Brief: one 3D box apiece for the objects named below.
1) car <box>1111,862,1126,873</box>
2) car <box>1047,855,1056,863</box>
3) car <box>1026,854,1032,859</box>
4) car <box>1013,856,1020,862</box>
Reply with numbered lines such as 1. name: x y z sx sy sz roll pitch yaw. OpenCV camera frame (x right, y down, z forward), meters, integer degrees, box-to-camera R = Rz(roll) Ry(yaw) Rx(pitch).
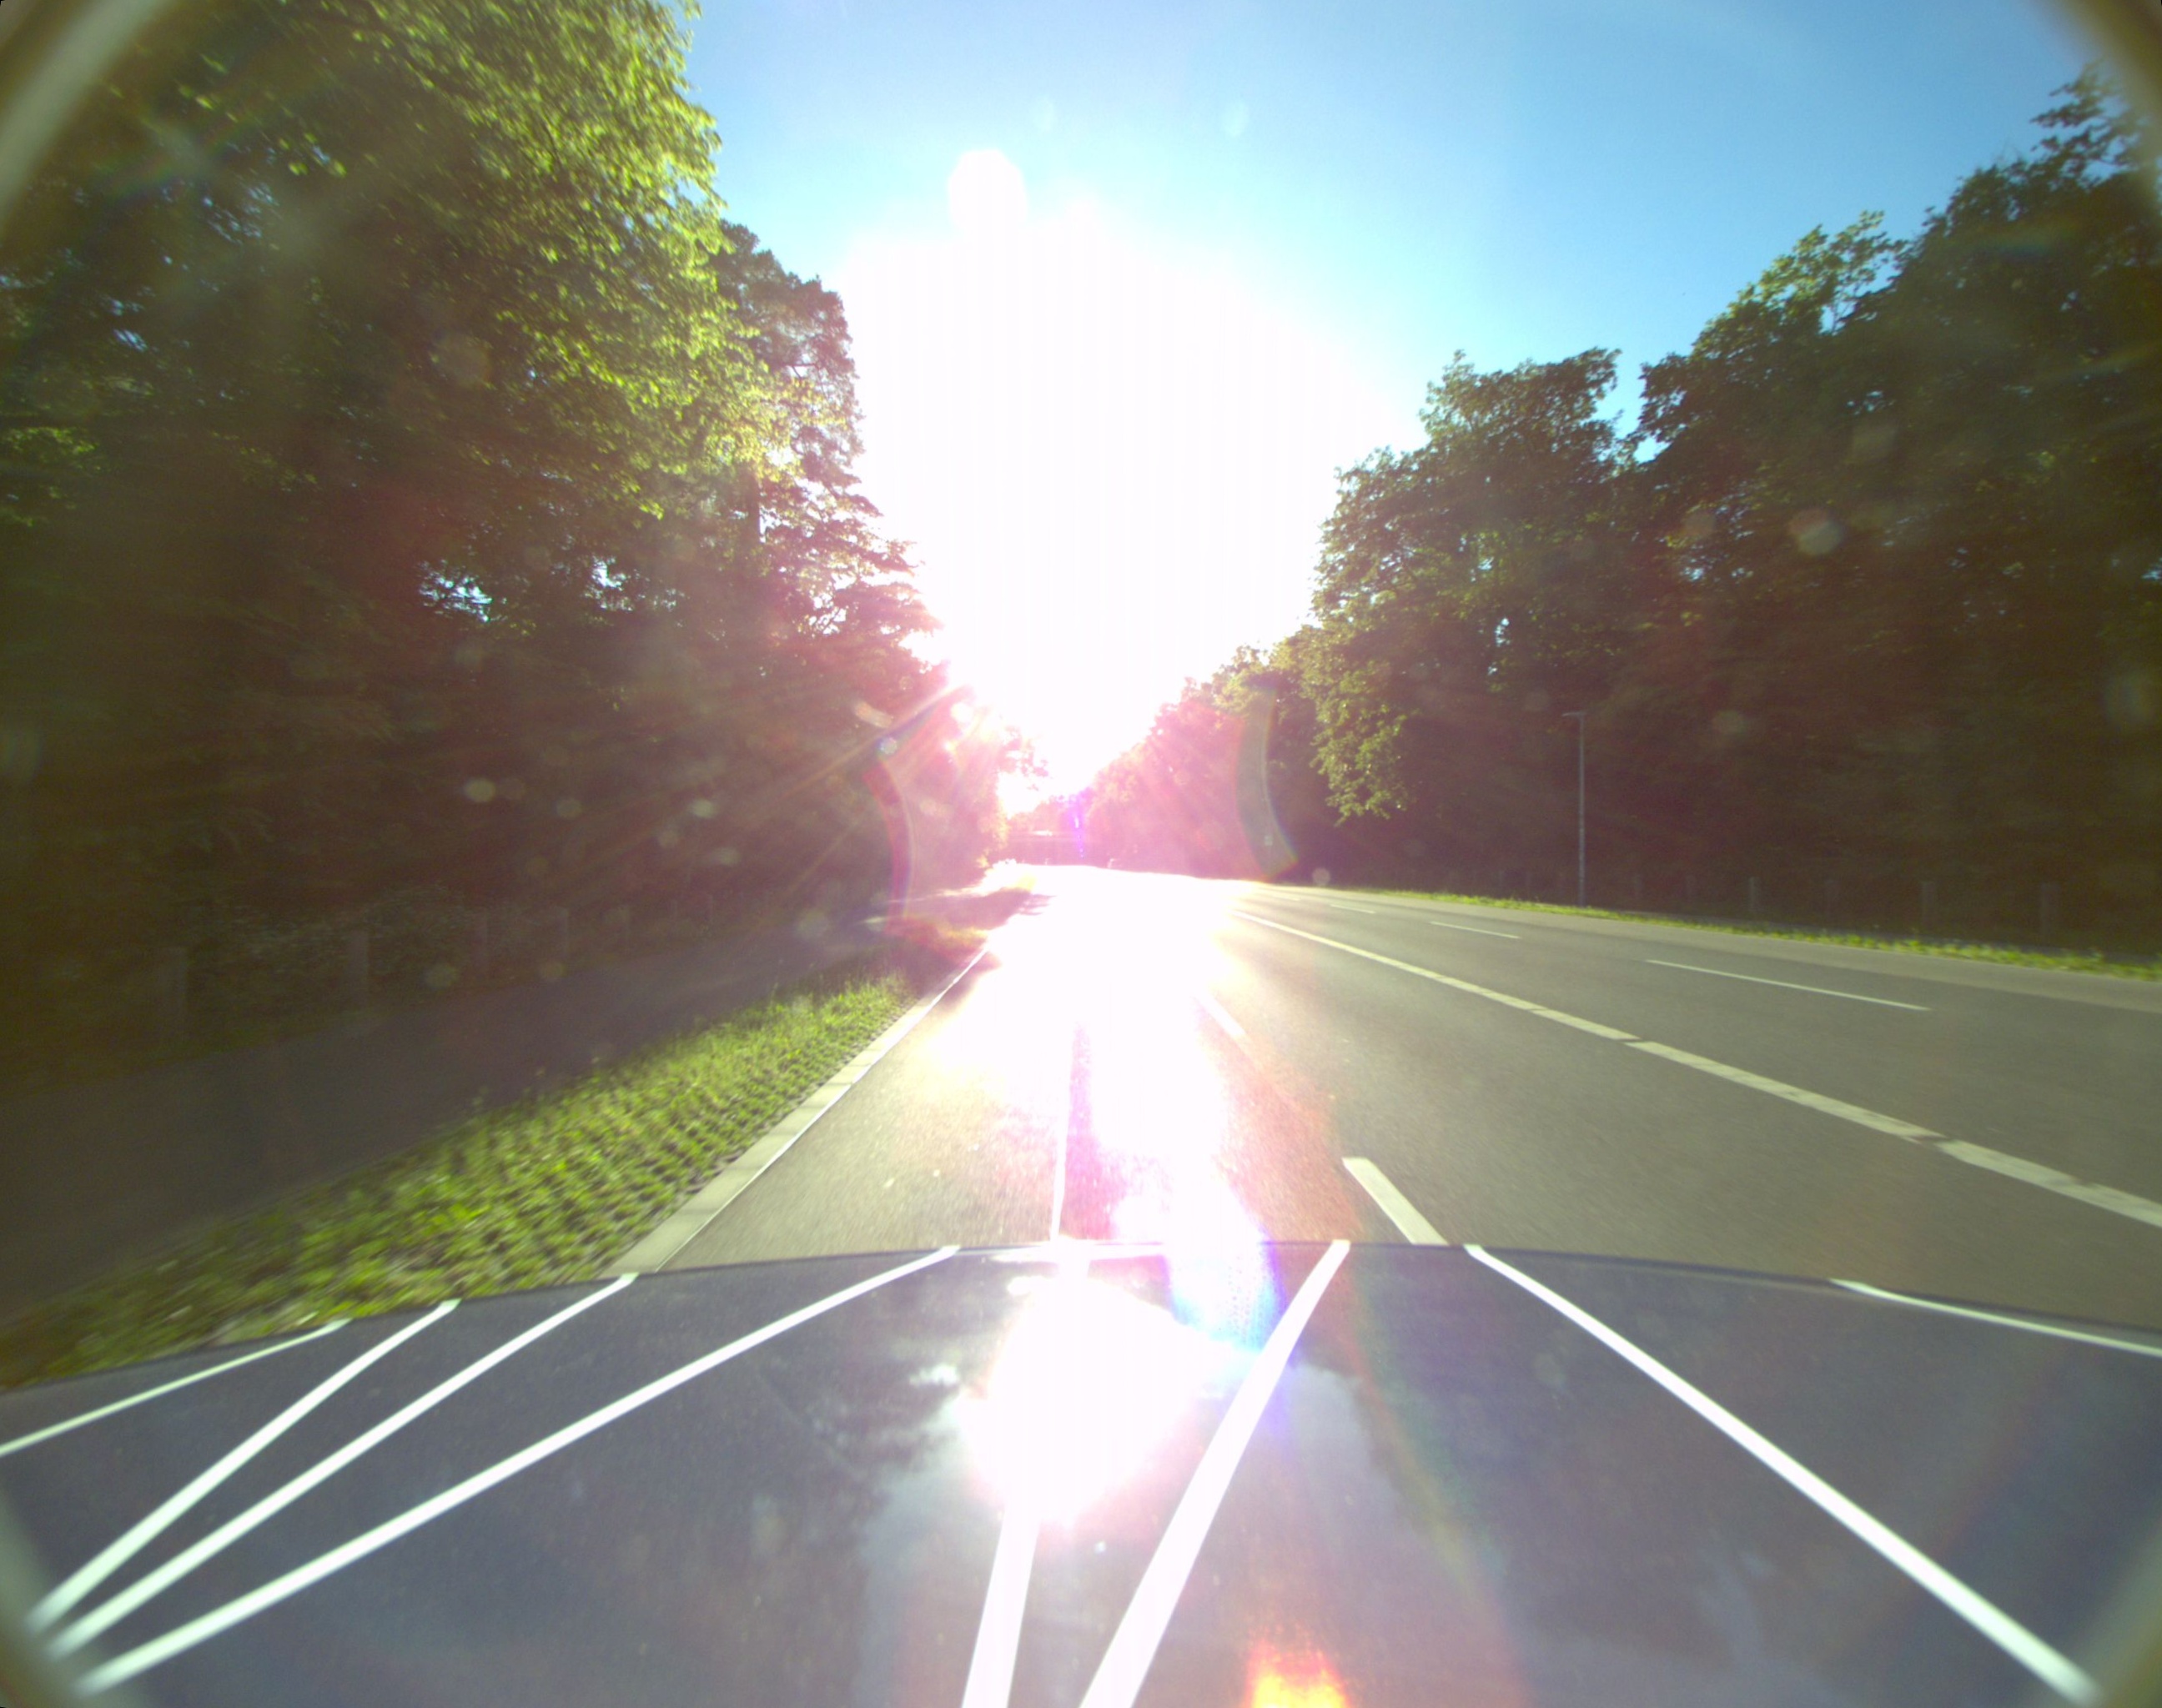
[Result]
1. car: 4.926 1.779 100.989 1.591 1.429 4.308 -3 0 -1
2. car: -7.772 1.271 199.395 2.007 1.815 4.996 -3 0 -7
3. car: -17.277 0.759 252.114 1.518 1.457 4.311 -1 0 -8
4. car: -20.027 1.527 235.407 1.828 1.674 3.996 -1 0 -12
